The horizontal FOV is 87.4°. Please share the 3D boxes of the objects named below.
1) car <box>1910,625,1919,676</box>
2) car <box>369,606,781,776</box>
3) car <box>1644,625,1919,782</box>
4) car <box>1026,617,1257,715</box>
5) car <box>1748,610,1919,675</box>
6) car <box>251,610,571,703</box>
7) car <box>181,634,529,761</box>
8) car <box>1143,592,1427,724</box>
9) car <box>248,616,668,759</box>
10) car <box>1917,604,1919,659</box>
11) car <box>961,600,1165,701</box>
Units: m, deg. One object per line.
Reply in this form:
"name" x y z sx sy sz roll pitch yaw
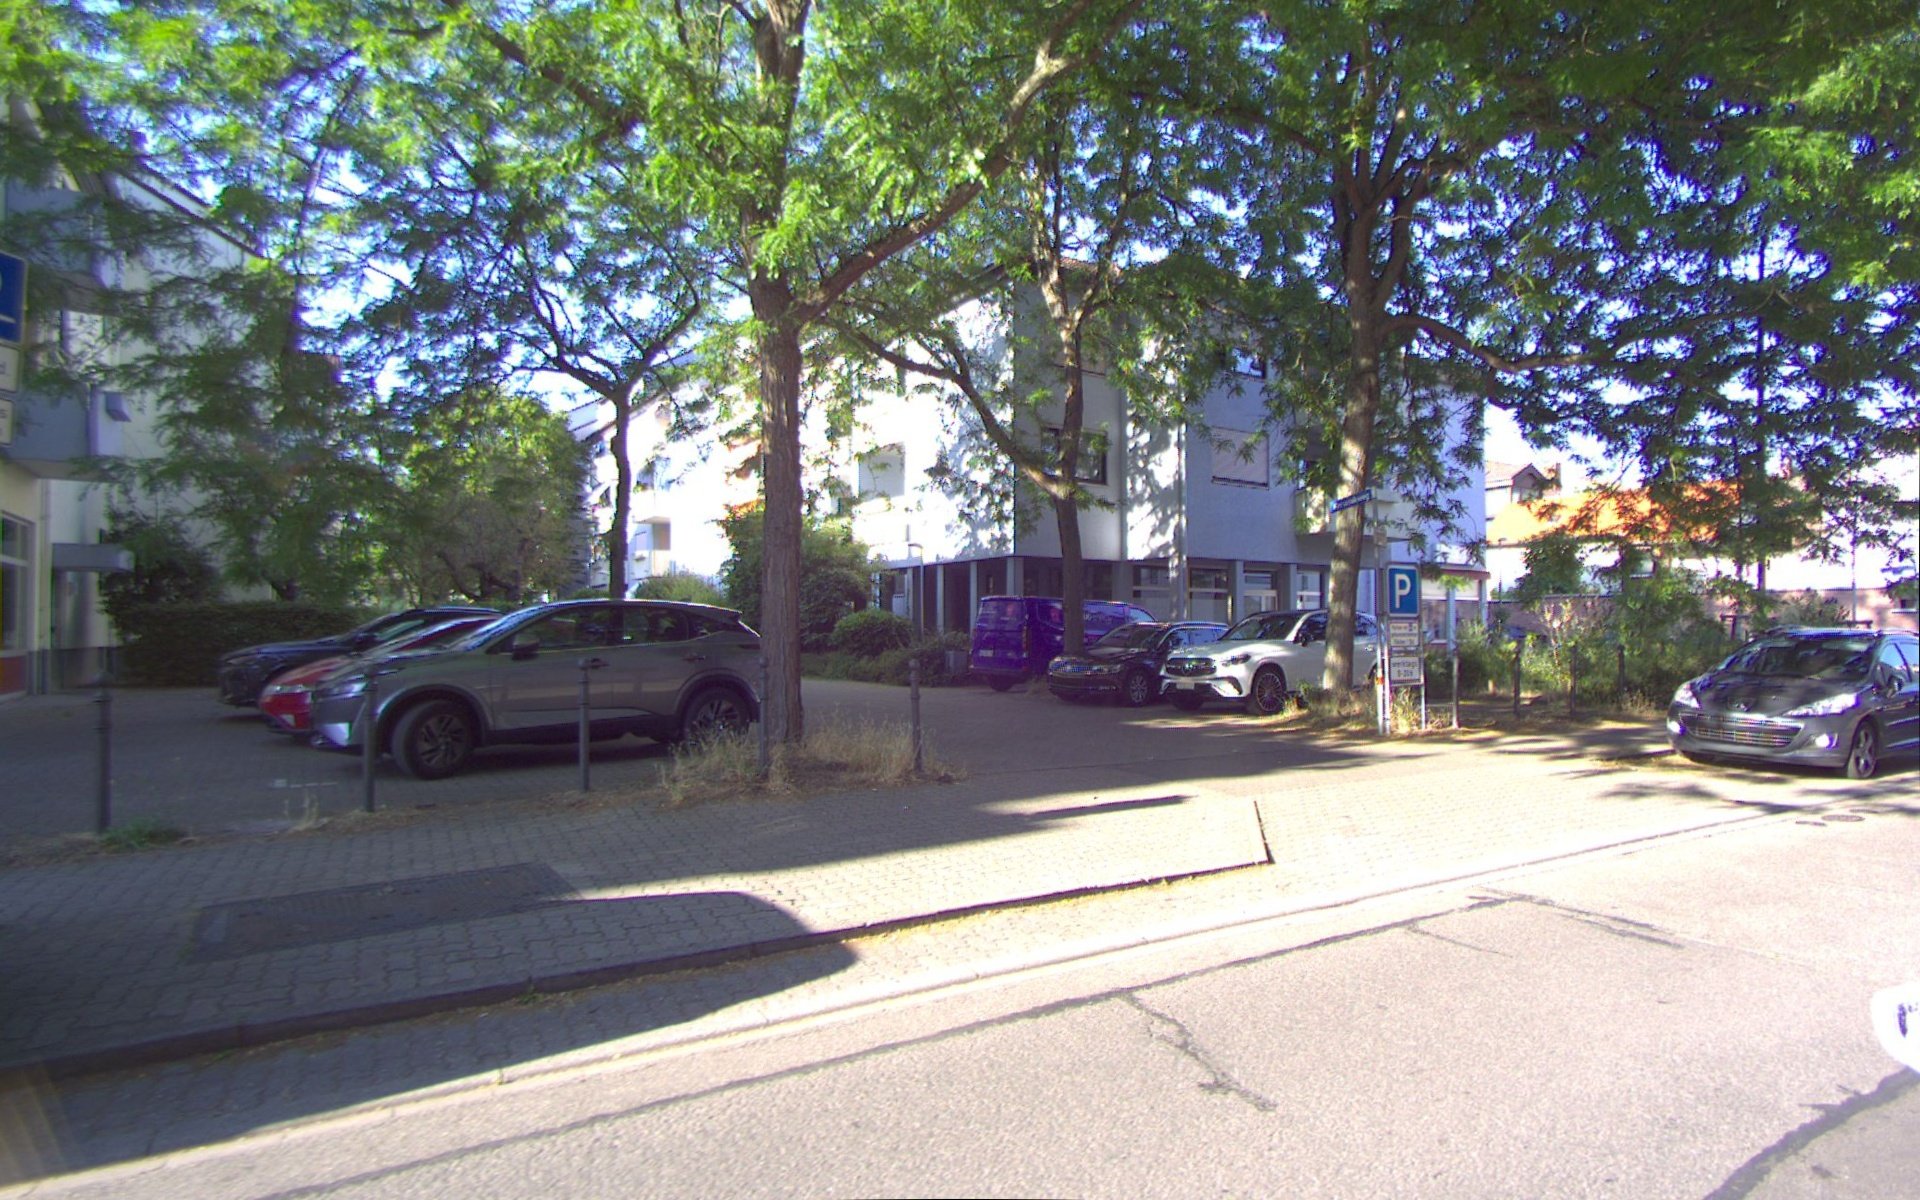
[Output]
"car" 30.838 1.459 29.539 1.974 1.550 3.755 -1 -3 -27
"car" -3.741 0.810 9.998 3.593 1.427 1.515 1 -2 -28
"car" 9.770 1.061 11.464 3.953 1.511 1.689 1 -2 -30
"car" 3.335 1.126 18.337 3.767 1.596 2.063 1 -2 -32
"car" 28.899 1.440 33.119 1.974 1.518 3.978 -4 -7 -27
"car" -10.317 1.040 19.232 5.126 1.580 1.930 0 -4 -30
"car" -7.872 1.212 13.449 3.765 1.459 1.679 1 -2 -28
"car" 5.485 0.878 16.703 4.852 1.920 1.833 0 -1 -33
"car" -5.954 0.953 12.201 4.390 1.460 1.565 1 -3 -36
"car" 33.721 1.062 31.934 1.961 1.819 4.348 -3 3 -26
"car" 2.285 1.038 21.711 4.289 1.974 2.000 1 -2 -41
